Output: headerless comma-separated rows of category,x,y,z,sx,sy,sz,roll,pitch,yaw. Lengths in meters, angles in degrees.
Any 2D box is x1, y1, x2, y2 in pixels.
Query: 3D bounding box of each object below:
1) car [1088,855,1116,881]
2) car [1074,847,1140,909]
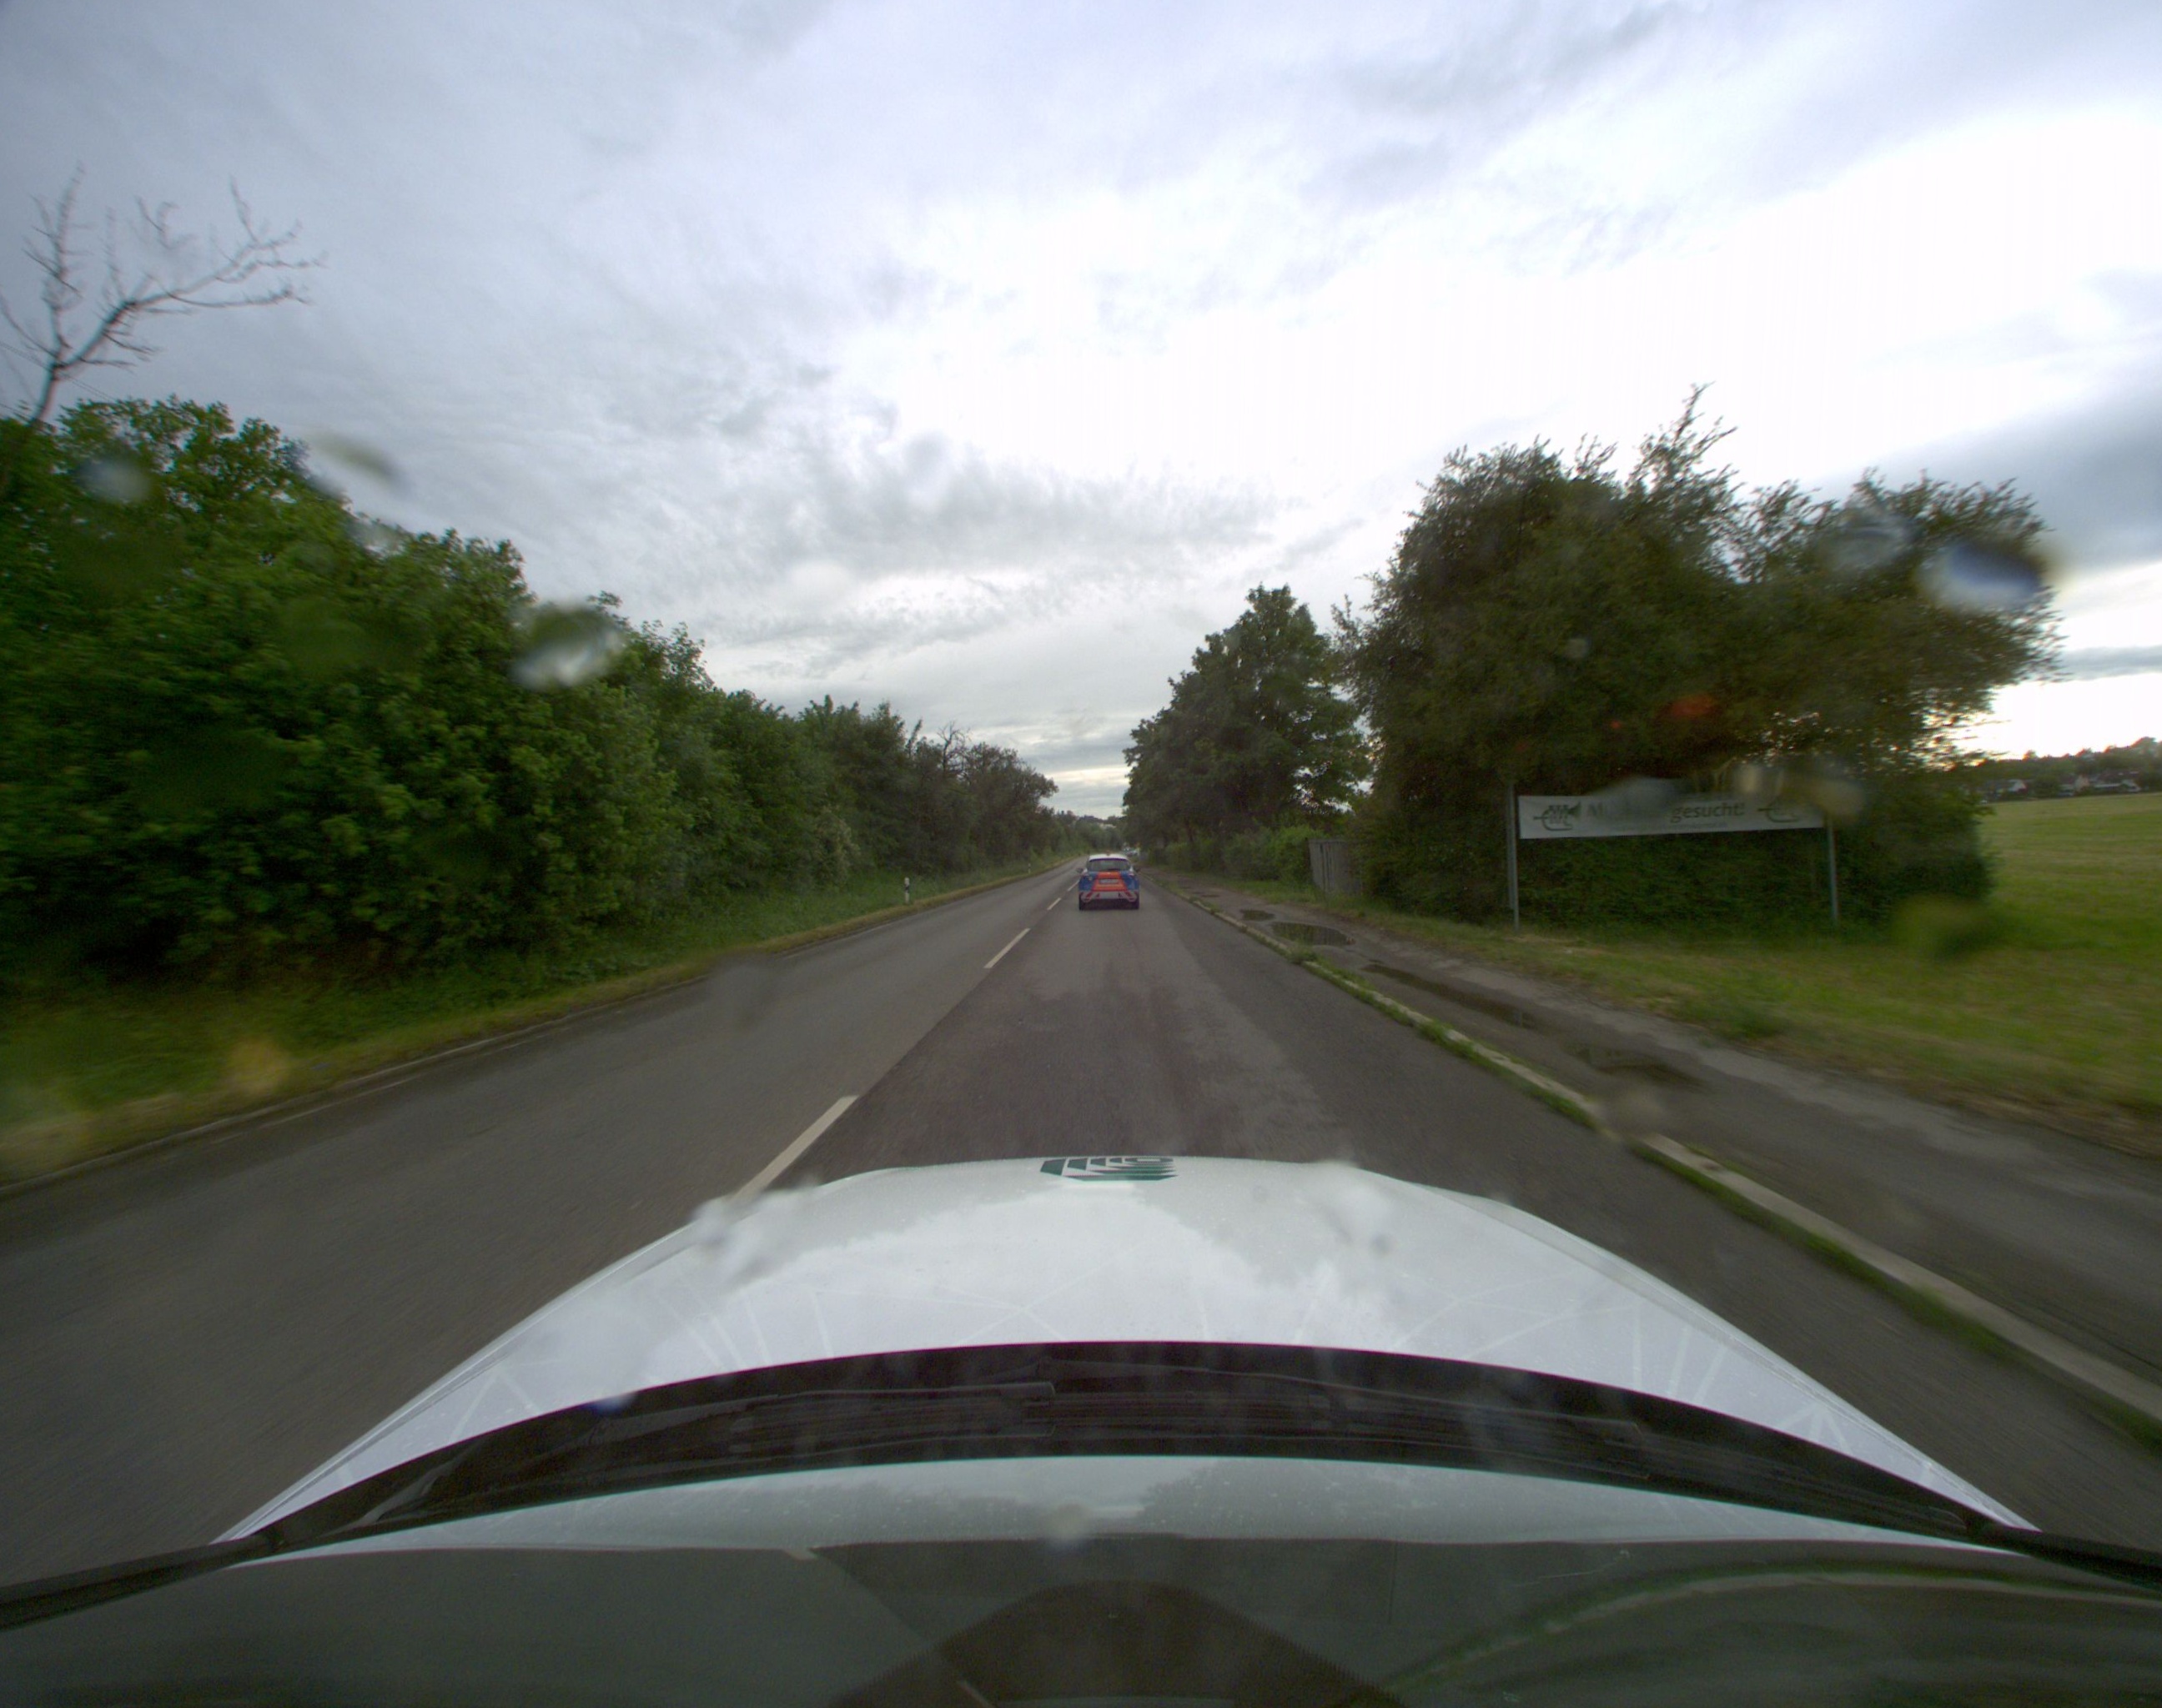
car,1.341,0.869,52.208,1.687,1.595,3.857,0,0,1
car,0.754,0.668,24.129,1.799,1.668,3.857,0,0,1
